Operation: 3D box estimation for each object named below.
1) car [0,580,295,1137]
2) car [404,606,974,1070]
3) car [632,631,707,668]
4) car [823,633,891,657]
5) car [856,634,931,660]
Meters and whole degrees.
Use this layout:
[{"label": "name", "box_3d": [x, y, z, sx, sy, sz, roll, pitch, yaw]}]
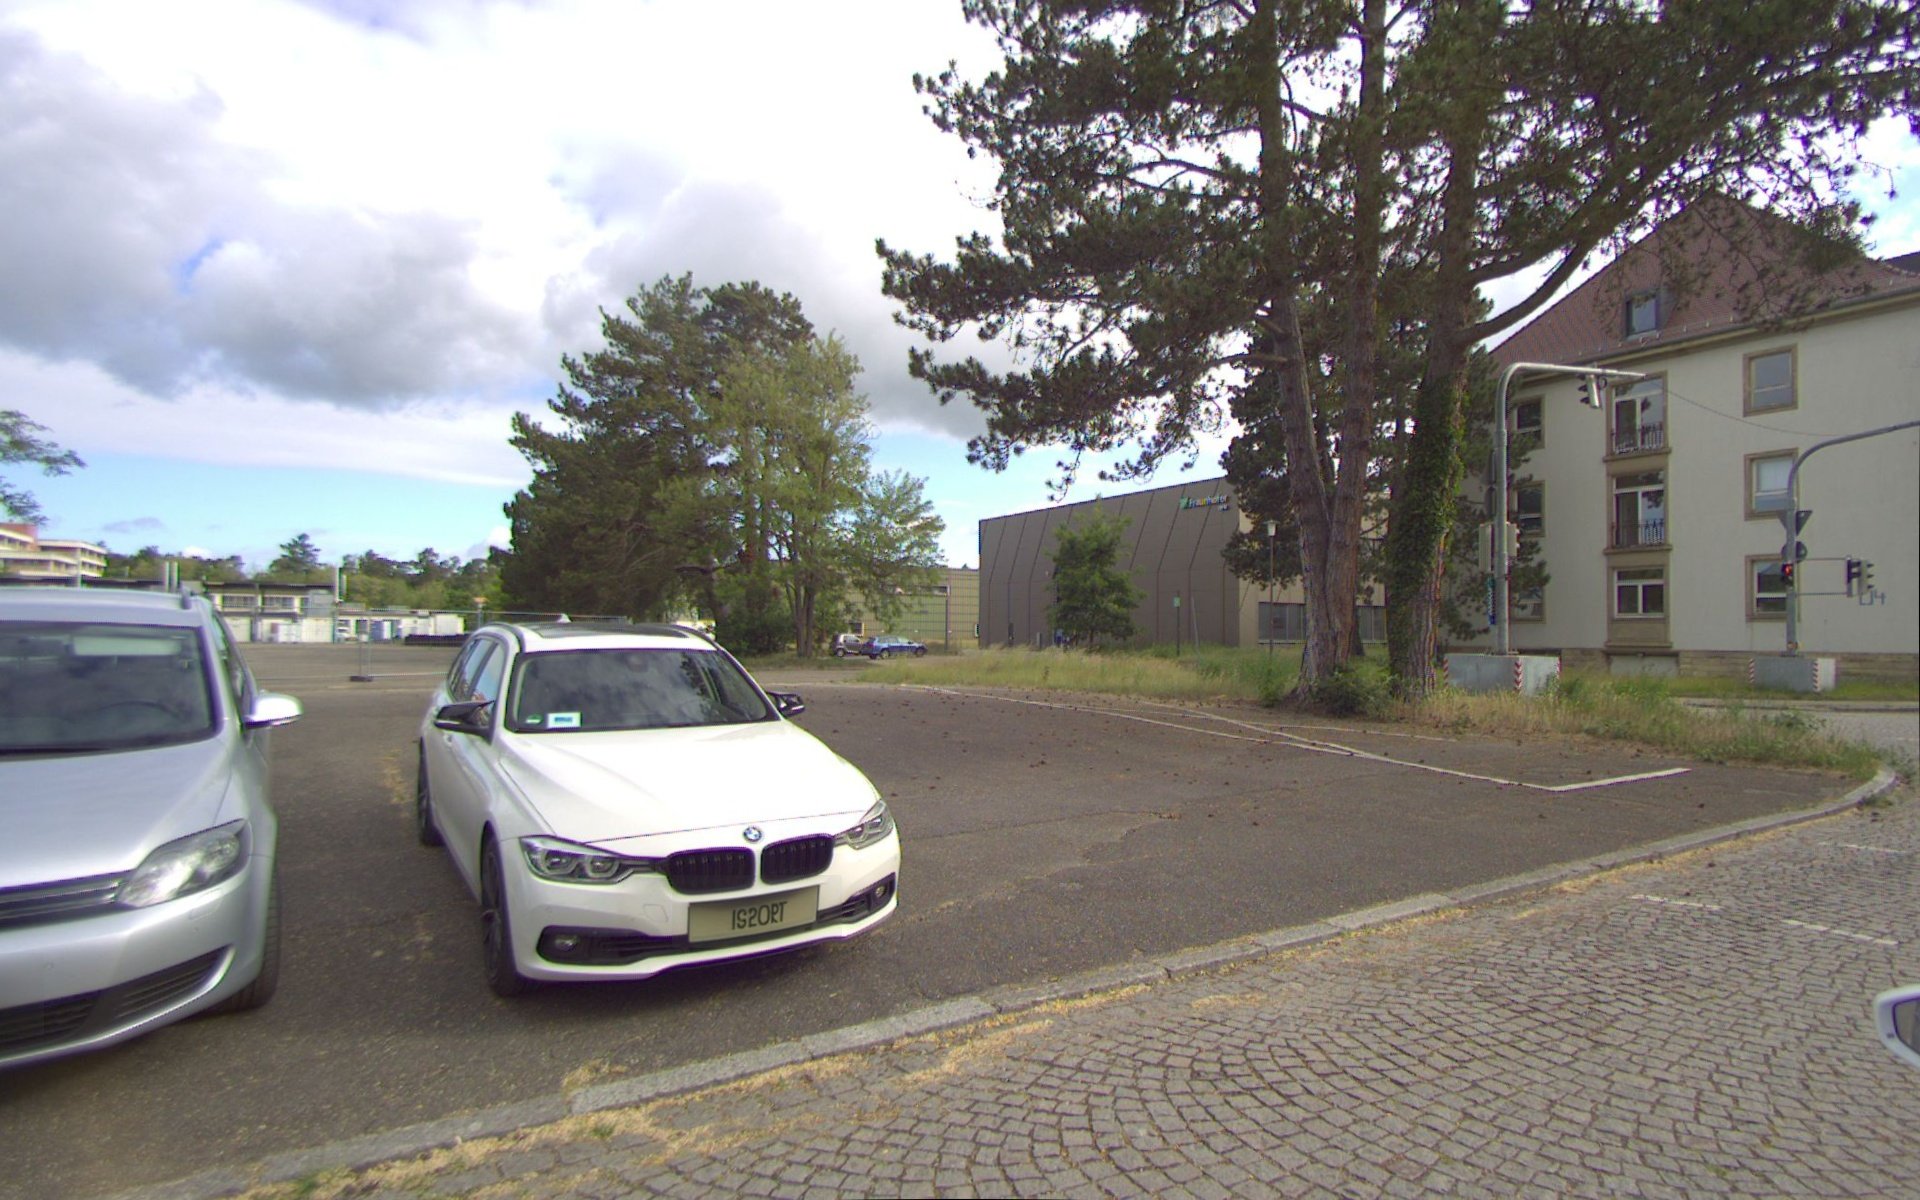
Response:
[{"label": "car", "box_3d": [-4.194, 0.736, 4.614, 1.828, 1.611, 4.445, 2, -1, -34]}, {"label": "car", "box_3d": [-2.027, 0.842, 5.941, 1.893, 1.459, 4.778, 2, 0, -33]}, {"label": "car", "box_3d": [-12.505, 2.092, 43.030, 1.905, 1.496, 4.329, 2, -2, -33]}, {"label": "car", "box_3d": [-7.356, 3.221, 71.957, 4.480, 1.552, 1.984, 0, -1, -31]}, {"label": "car", "box_3d": [-4.301, 3.008, 65.191, 4.486, 1.552, 1.981, 0, -1, -35]}]
